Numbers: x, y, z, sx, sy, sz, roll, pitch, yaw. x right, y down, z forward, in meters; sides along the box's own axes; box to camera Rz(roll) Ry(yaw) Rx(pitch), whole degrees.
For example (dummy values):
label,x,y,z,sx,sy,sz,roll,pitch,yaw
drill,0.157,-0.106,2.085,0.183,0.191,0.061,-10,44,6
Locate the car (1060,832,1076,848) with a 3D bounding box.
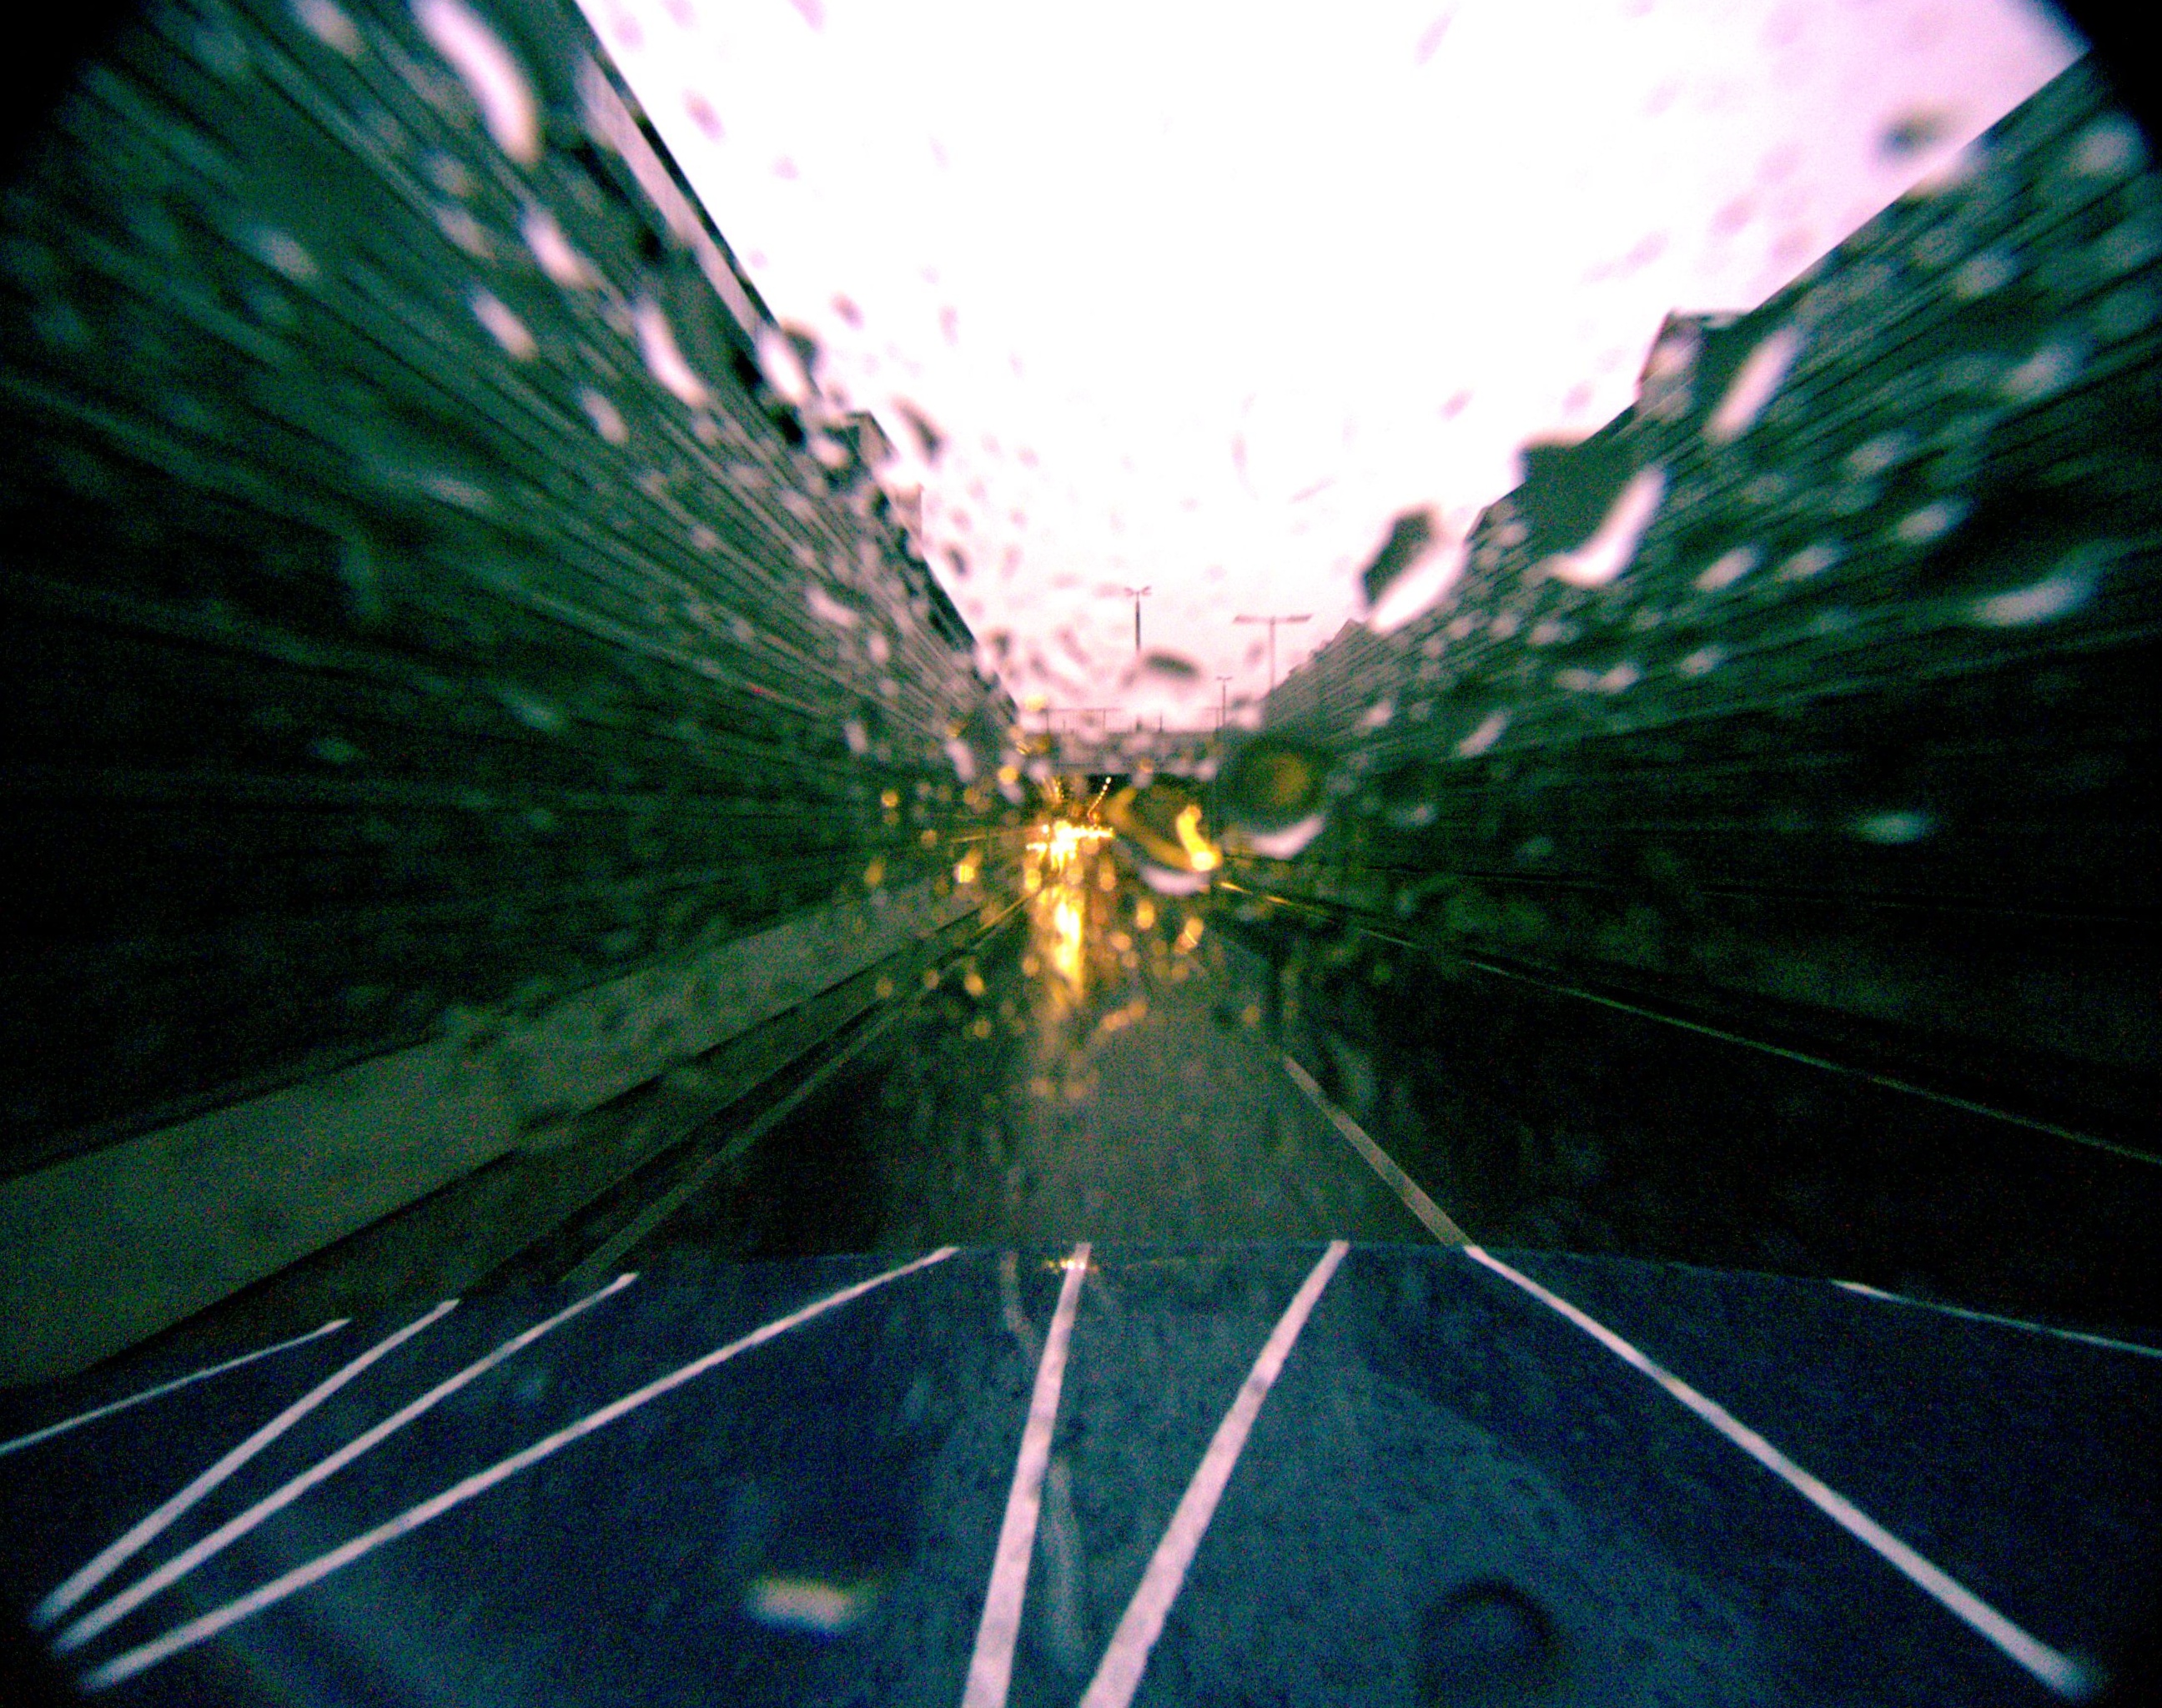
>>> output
label,x,y,z,sx,sy,sz,roll,pitch,yaw
car,-1.725,-1.886,102.832,2.031,2.018,4.422,-2,2,-2
